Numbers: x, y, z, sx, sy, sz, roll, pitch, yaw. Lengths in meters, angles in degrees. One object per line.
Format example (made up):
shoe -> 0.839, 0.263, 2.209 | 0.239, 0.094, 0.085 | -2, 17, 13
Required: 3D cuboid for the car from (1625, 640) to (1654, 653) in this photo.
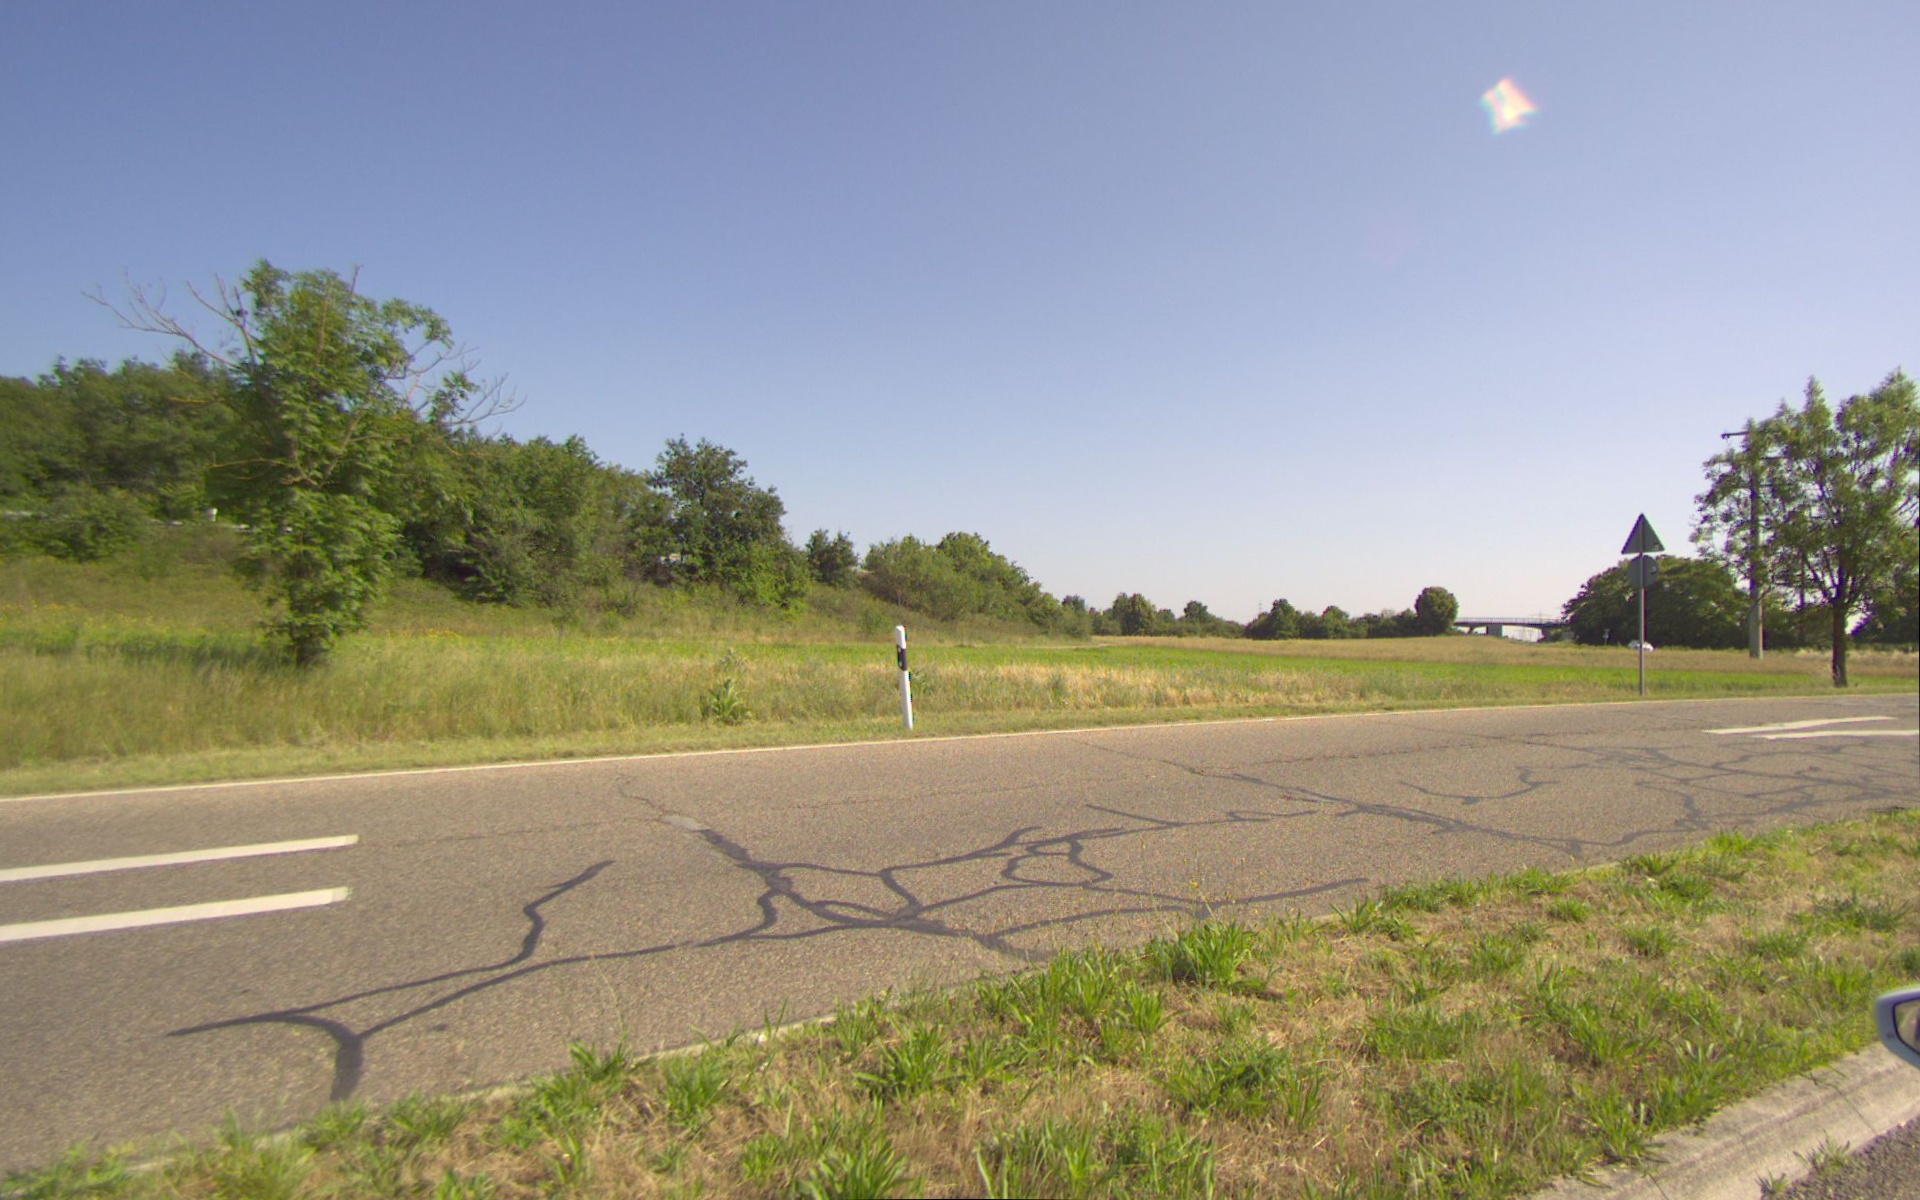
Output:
car -> 95.447, 6.533, 141.129 | 1.783, 1.673, 4.764 | 1, -1, 14
